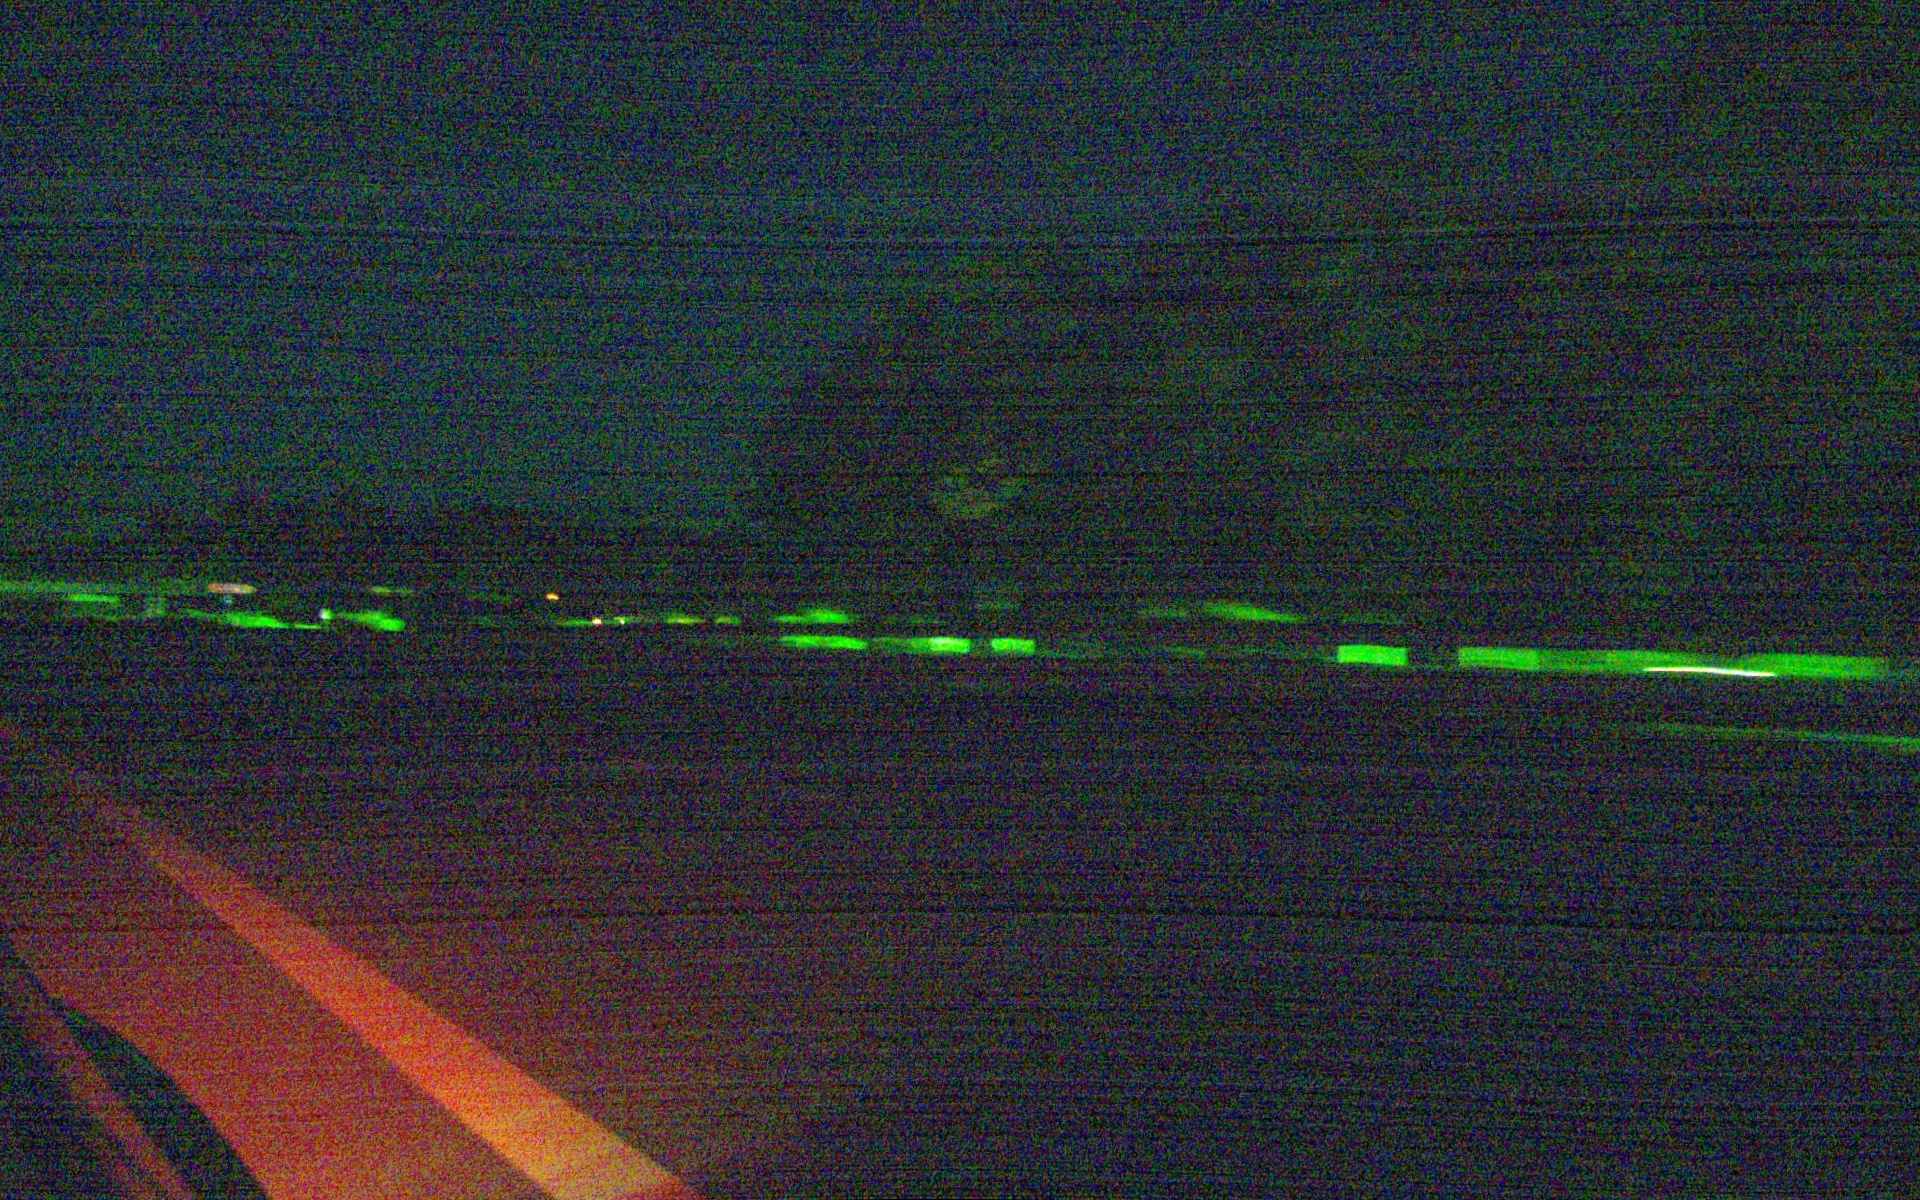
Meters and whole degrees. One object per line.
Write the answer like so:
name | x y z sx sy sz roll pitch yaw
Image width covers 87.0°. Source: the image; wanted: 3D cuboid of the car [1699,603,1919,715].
car | 13.610 0.826 15.119 3.999 1.530 1.972 0 0 42
